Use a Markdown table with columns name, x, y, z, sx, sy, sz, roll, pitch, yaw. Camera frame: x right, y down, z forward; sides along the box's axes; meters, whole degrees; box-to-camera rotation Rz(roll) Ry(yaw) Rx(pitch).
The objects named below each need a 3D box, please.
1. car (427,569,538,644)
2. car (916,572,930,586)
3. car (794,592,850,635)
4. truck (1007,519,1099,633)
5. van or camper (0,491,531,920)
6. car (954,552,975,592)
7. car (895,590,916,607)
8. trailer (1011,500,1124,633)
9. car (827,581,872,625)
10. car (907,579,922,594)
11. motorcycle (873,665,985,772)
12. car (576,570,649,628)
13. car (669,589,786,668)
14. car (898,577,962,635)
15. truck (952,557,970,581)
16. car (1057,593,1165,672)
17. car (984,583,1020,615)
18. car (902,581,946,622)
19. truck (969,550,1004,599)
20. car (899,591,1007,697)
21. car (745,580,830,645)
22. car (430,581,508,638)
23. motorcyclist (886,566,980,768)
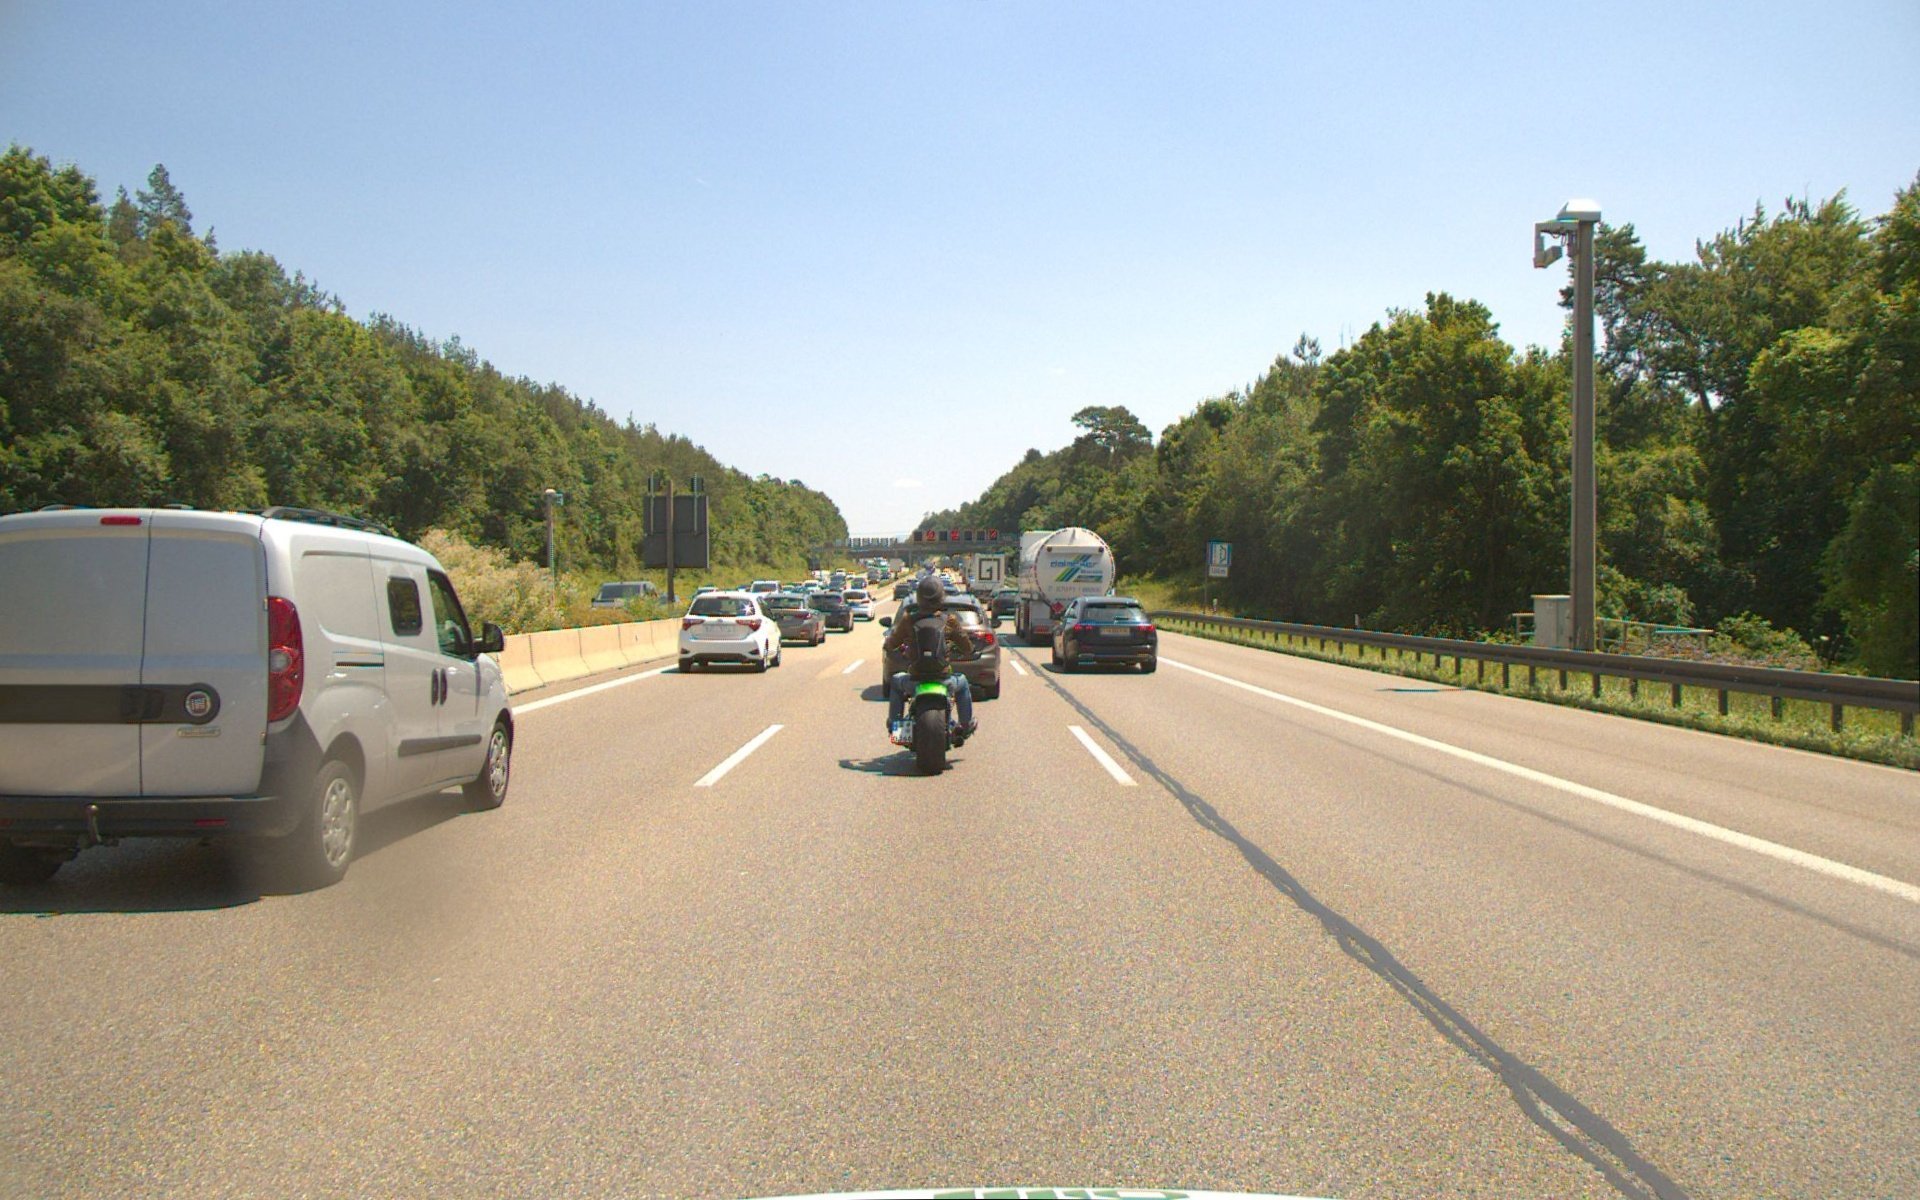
| name | x | y | z | sx | sy | sz | roll | pitch | yaw |
| --- | --- | --- | --- | --- | --- | --- | --- | --- | --- |
| car | -13.730 | 0.175 | 47.824 | 1.953 | 2.049 | 4.271 | 1 | 0 | 0 |
| car | -5.515 | -3.122 | 246.484 | 1.953 | 2.049 | 3.999 | 0 | -1 | -1 |
| car | -5.004 | 0.510 | 60.297 | 1.954 | 1.490 | 3.996 | 1 | -1 | -4 |
| truck | 3.178 | -0.733 | 58.077 | 2.770 | 3.735 | 6.428 | 1 | -1 | -1 |
| van or camper | -4.012 | 0.464 | 9.716 | 1.815 | 1.913 | 4.560 | 1 | 0 | -1 |
| car | 0.482 | -2.949 | 178.606 | 2.123 | 3.961 | 9.327 | 1 | -1 | -1 |
| car | -4.754 | -0.149 | 144.657 | 1.728 | 1.467 | 4.000 | 0 | 0 | 0 |
| trailer | 3.227 | -0.854 | 52.427 | 2.770 | 3.735 | 10.730 | 1 | -1 | -1 |
| car | -5.270 | 0.175 | 79.483 | 1.953 | 2.049 | 3.999 | 1 | -1 | -1 |
| car | -5.156 | -1.535 | 188.889 | 1.626 | 1.627 | 3.999 | 0 | -1 | 0 |
| motorcycle | -0.269 | 1.032 | 14.934 | 0.917 | 0.807 | 2.298 | 1 | -1 | -1 |
| car | -12.701 | -0.039 | 60.670 | 1.953 | 2.049 | 3.998 | 1 | 0 | -2 |
| car | -4.485 | 0.530 | 32.432 | 1.740 | 1.435 | 3.999 | 1 | 0 | -1 |
| car | -0.961 | 0.229 | 52.954 | 1.953 | 1.741 | 3.998 | 1 | -1 | -1 |
| truck | 0.090 | -4.755 | 259.256 | 2.641 | 3.465 | 10.476 | 0 | -1 | -1 |
| car | 3.035 | 0.673 | 34.101 | 1.755 | 1.484 | 4.623 | 1 | -1 | -1 |
| car | 2.177 | -0.056 | 86.344 | 1.740 | 1.554 | 3.999 | 1 | -1 | -1 |
| car | -1.691 | 0.109 | 76.946 | 1.953 | 1.806 | 3.998 | 1 | -1 | -1 |
| truck | 2.275 | -2.104 | 141.004 | 2.794 | 3.888 | 7.189 | 1 | -1 | 2 |
| car | -0.116 | 0.632 | 25.248 | 1.509 | 1.476 | 3.999 | 1 | 0 | -1 |
| car | -4.815 | 0.379 | 46.740 | 1.953 | 1.713 | 4.329 | 1 | -1 | -1 |
| car | -18.348 | 0.372 | 62.014 | 1.954 | 2.049 | 3.996 | 1 | -1 | -4 |
| motorcyclist | -0.231 | 0.581 | 14.629 | 0.782 | 1.717 | 1.016 | 1 | -1 | -1 |
